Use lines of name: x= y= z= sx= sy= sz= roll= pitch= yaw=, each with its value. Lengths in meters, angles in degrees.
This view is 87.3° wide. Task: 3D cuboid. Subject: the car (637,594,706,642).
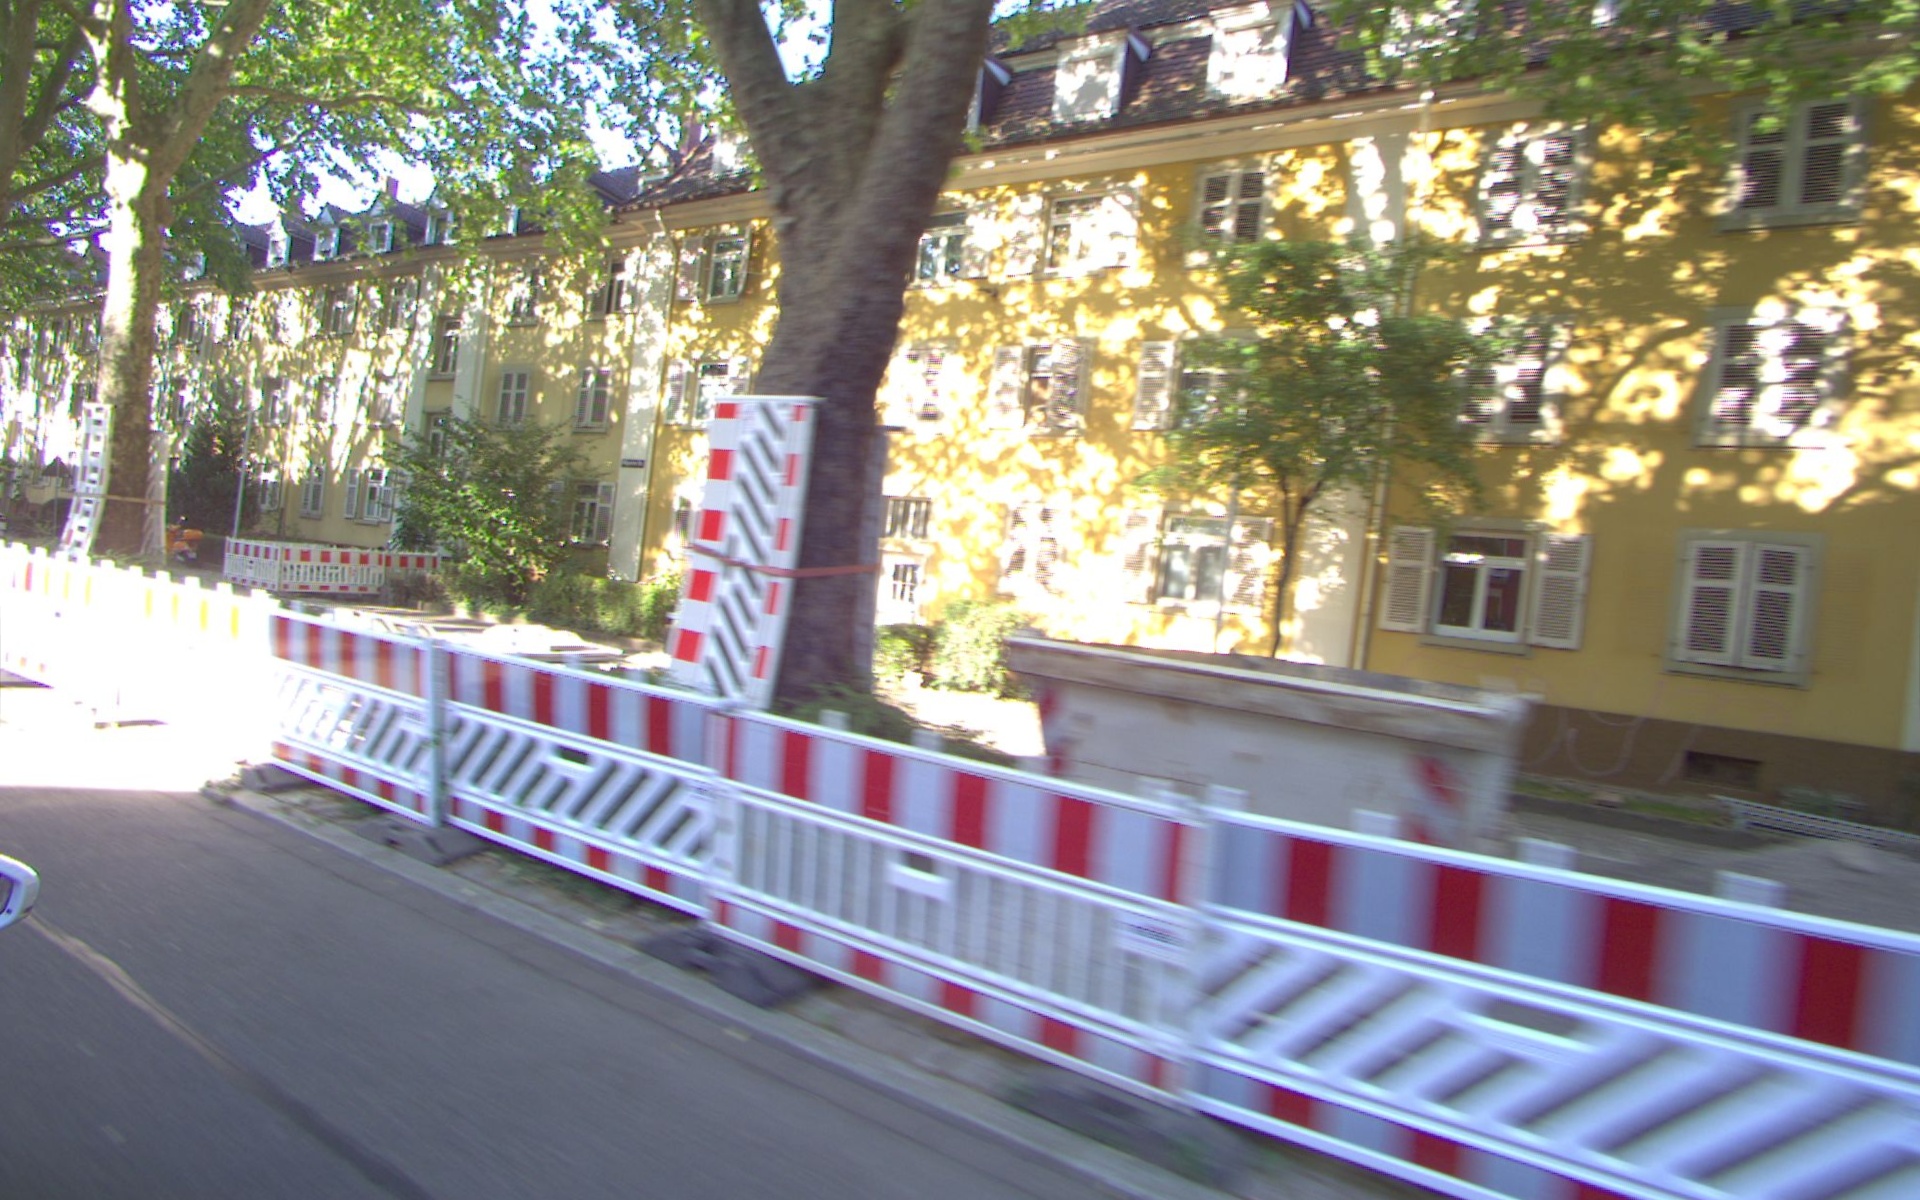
car: x=-6.452 y=0.391 z=22.456 sx=1.548 sy=0.861 sz=0.446 roll=6 pitch=-3 yaw=32

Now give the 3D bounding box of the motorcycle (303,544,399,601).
motorcycle: x=-16.170 y=-0.713 z=26.780 sx=0.701 sy=1.264 sz=1.994 roll=7 pitch=-1 yaw=30

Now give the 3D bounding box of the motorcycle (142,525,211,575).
motorcycle: x=-22.090 y=-1.412 z=28.359 sx=2.226 sy=1.167 sz=0.716 roll=6 pitch=0 yaw=31

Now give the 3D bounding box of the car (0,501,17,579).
car: x=-20.852 y=-1.451 z=18.907 sx=1.884 sy=1.539 sz=4.097 roll=6 pitch=-2 yaw=30

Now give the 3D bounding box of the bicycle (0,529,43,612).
bicycle: x=-13.806 y=-0.476 z=14.254 sx=1.779 sy=1.083 sz=0.636 roll=6 pitch=-1 yaw=31
